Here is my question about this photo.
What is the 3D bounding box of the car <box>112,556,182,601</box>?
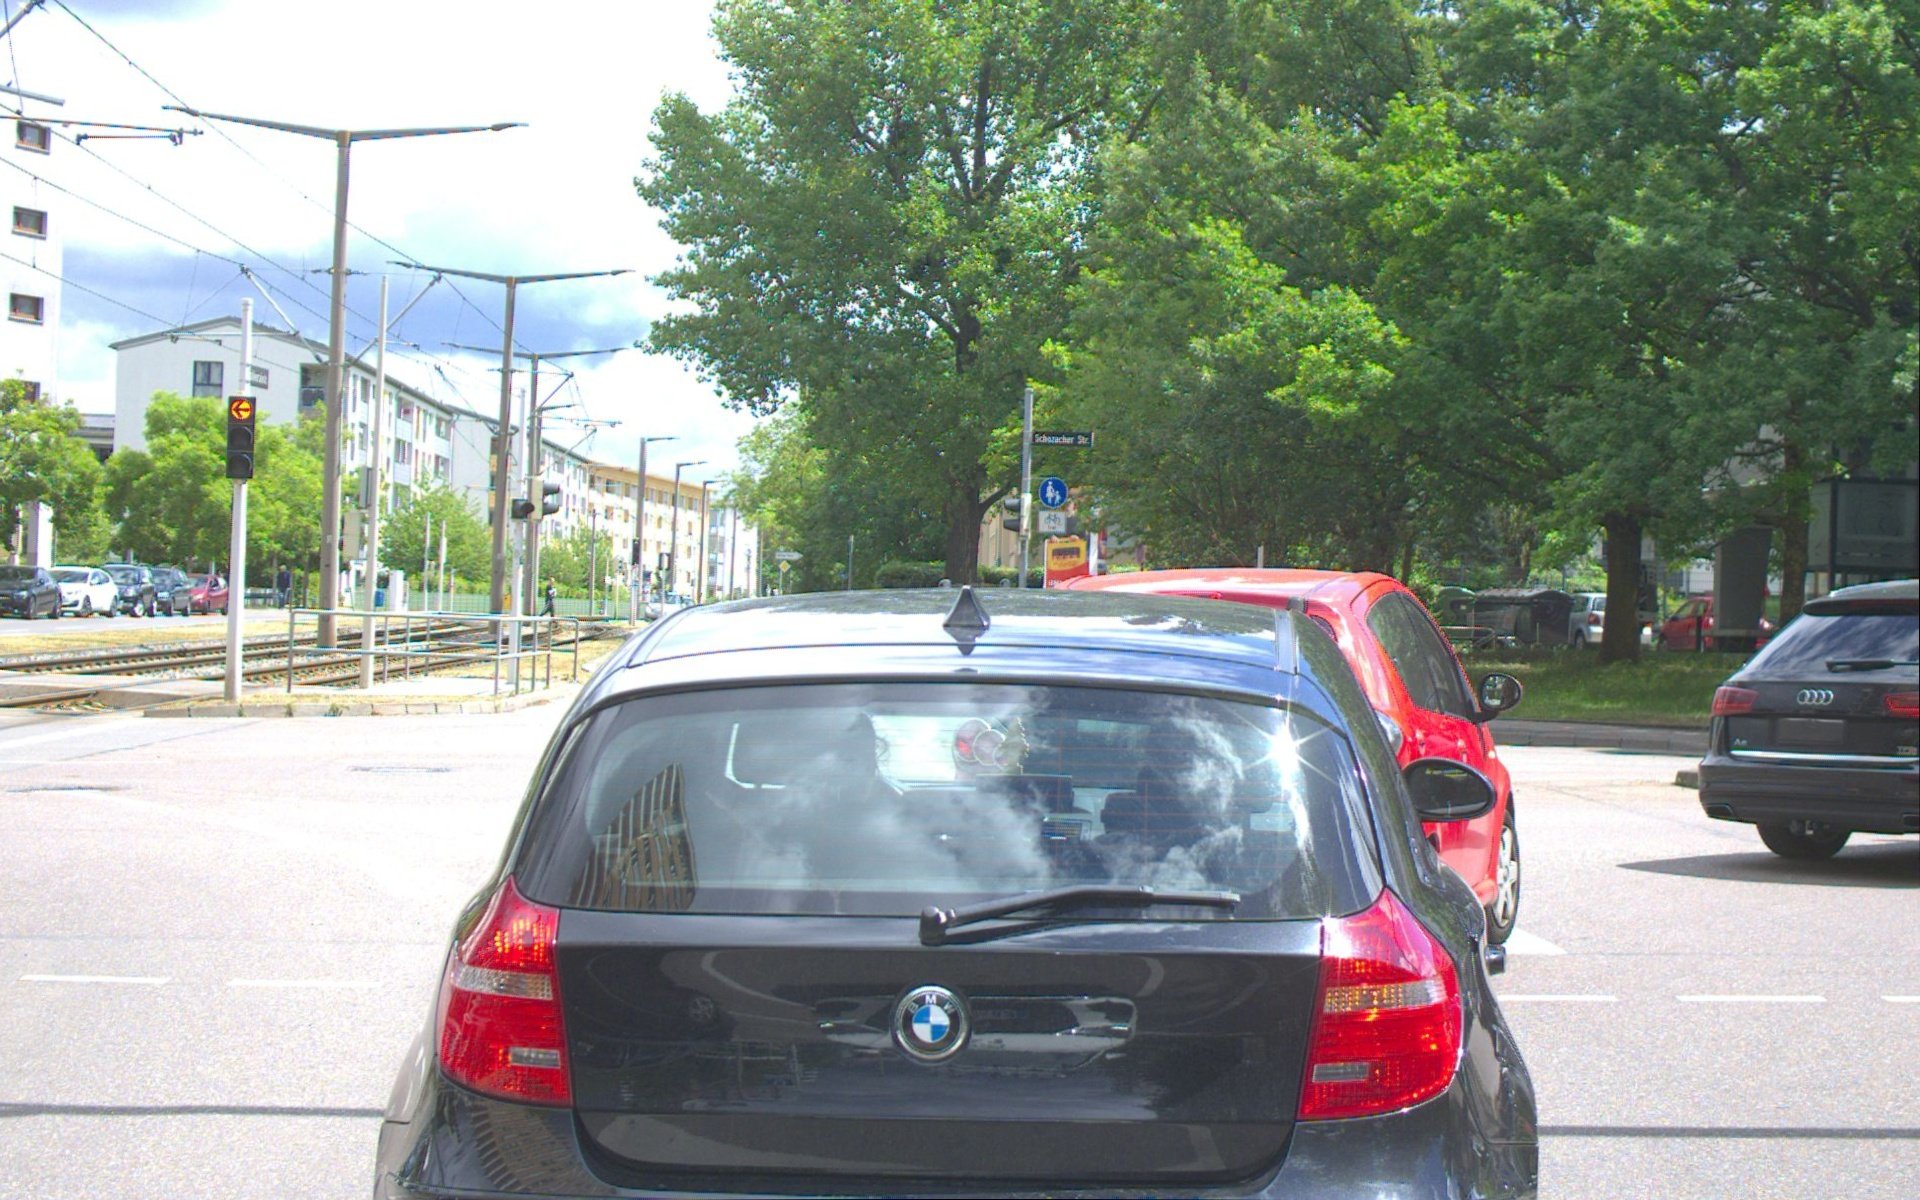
[{"bbox_3d":[-26.515,-0.714,112.164,1.760,1.390,4.001,1,1,-7],"label":"car"}]

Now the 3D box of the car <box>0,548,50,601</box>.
[{"bbox_3d":[-25.942,-0.701,93.454,1.760,1.390,4.001,1,1,-7],"label":"car"}]

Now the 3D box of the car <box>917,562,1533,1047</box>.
[{"bbox_3d":[1.058,0.603,12.182,1.543,1.436,3.193,1,1,16],"label":"car"}]

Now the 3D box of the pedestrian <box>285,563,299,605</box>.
[{"bbox_3d":[-26.770,-0.642,137.802,0.452,1.631,0.480,1,1,-3],"label":"pedestrian"}]

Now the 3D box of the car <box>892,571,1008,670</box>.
[{"bbox_3d":[-0.187,0.371,61.670,1.993,1.678,4.000,1,0,0],"label":"car"}]

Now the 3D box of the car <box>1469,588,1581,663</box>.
[{"bbox_3d":[12.745,0.553,77.714,1.630,1.567,4.033,1,1,-3],"label":"car"}]

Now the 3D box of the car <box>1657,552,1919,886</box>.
[{"bbox_3d":[5.806,0.559,17.839,4.508,1.548,1.999,0,0,-42],"label":"car"}]

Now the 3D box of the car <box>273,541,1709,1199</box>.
[{"bbox_3d":[0.015,0.653,6.237,1.752,1.482,4.000,1,1,0],"label":"car"}]

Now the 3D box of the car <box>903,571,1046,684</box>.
[{"bbox_3d":[0.210,0.419,54.221,2.152,1.678,4.000,1,0,0],"label":"car"}]

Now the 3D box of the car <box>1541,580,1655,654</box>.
[{"bbox_3d":[14.630,0.379,78.948,1.630,1.589,4.001,1,1,-3],"label":"car"}]

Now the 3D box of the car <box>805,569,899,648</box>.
[{"bbox_3d":[-2.393,0.166,77.121,1.993,1.678,4.000,1,1,0],"label":"car"}]

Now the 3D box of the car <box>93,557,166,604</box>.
[{"bbox_3d":[-25.977,-0.629,107.598,1.760,1.390,4.001,1,1,-7],"label":"car"}]

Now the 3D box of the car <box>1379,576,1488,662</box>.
[{"bbox_3d":[10.552,0.397,76.875,1.630,1.804,4.033,1,1,-3],"label":"car"}]

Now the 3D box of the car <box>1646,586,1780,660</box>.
[{"bbox_3d":[17.344,0.504,79.374,1.730,1.589,4.001,1,1,-8],"label":"car"}]

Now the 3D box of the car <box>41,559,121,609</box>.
[{"bbox_3d":[-25.798,-0.475,101.022,1.760,1.390,4.001,1,1,-7],"label":"car"}]

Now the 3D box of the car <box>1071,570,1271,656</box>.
[{"bbox_3d":[4.641,0.284,75.727,3.986,1.817,1.779,1,1,-22],"label":"car"}]
